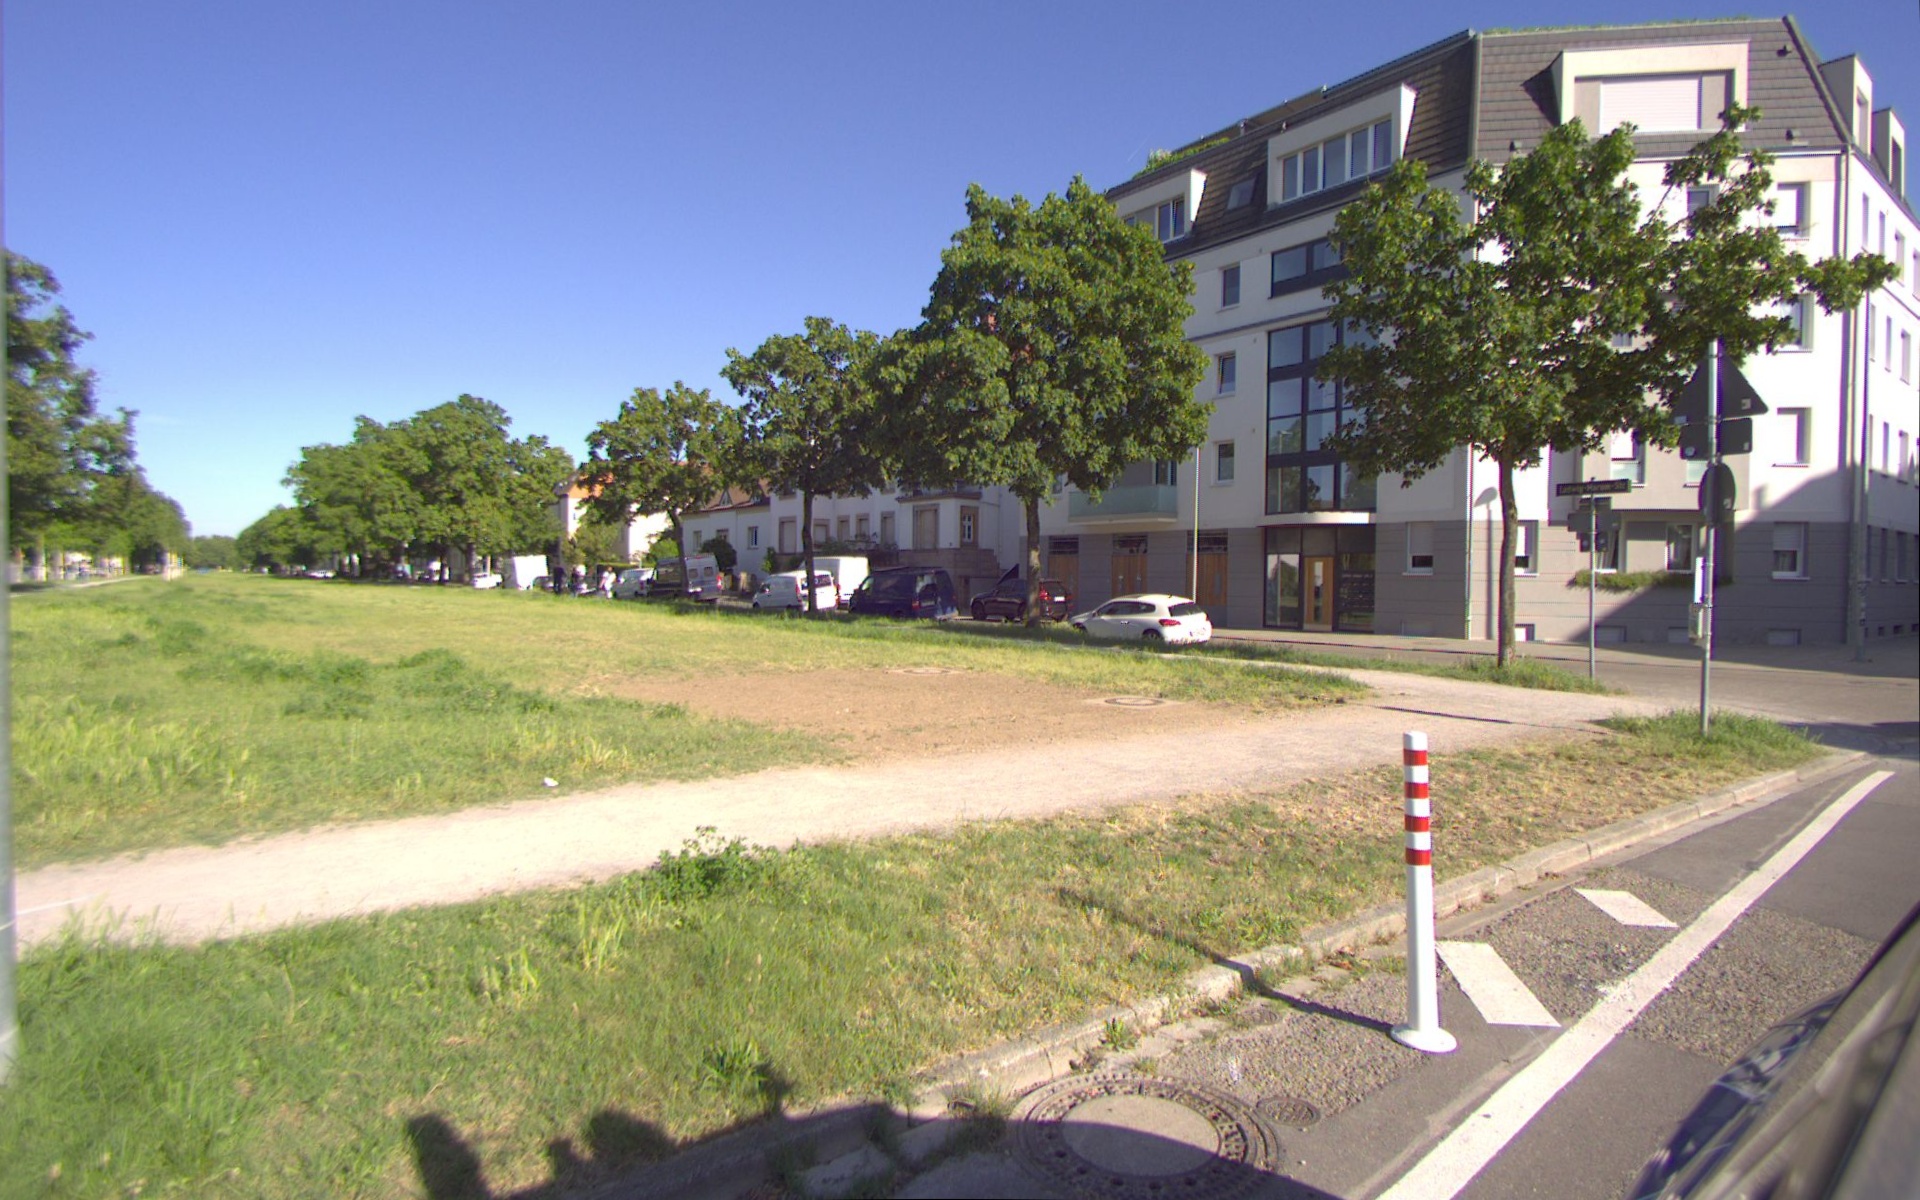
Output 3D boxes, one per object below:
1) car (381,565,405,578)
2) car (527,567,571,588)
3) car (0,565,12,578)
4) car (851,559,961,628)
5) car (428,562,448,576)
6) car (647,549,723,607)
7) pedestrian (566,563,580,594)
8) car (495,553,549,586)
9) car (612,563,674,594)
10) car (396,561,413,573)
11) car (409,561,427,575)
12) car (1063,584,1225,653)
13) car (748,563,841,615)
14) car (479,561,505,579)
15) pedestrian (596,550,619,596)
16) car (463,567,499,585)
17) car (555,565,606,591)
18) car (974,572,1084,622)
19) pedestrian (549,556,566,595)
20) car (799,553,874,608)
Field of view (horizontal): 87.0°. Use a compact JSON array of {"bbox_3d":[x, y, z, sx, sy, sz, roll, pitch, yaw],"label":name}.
[{"bbox_3d":[-69.819,-3.513,124.549,2.042,1.484,4.727,0,2,-36],"label":"car"},{"bbox_3d":[-28.928,-1.582,71.188,1.898,1.361,4.109,0,2,-36],"label":"car"},{"bbox_3d":[-100.798,-3.009,106.073,1.690,1.358,3.808,0,2,-37],"label":"car"},{"bbox_3d":[-1.894,-0.291,34.401,1.752,2.108,3.994,-5,5,-36],"label":"car"},{"bbox_3d":[-70.343,-4.225,136.347,1.831,1.868,3.994,0,2,-36],"label":"car"},{"bbox_3d":[-13.737,-1.147,50.371,2.153,2.615,4.288,-5,5,-36],"label":"car"},{"bbox_3d":[-18.996,-1.068,49.698,0.487,1.524,0.535,0,1,-37],"label":"pedestrian"},{"bbox_3d":[-33.003,-2.279,76.112,2.503,2.363,5.919,0,2,-36],"label":"car"},{"bbox_3d":[-17.573,-1.214,56.001,2.047,1.618,4.288,0,2,-36],"label":"car"},{"bbox_3d":[-87.266,-5.175,158.925,1.831,1.868,3.994,0,2,-36],"label":"car"},{"bbox_3d":[-78.591,-4.653,146.734,1.831,1.868,3.994,0,2,-36],"label":"car"},{"bbox_3d":[4.647,0.407,26.050,1.709,1.450,3.993,-5,5,-37],"label":"car"},{"bbox_3d":[-6.762,-0.502,41.064,1.842,1.906,4.423,-5,5,-36],"label":"car"},{"bbox_3d":[-50.124,-3.198,108.358,1.831,1.868,3.994,0,2,-36],"label":"car"},{"bbox_3d":[-14.525,-1.105,41.683,0.711,1.900,0.629,0,1,-38],"label":"pedestrian"},{"bbox_3d":[-41.968,-2.144,88.647,2.042,1.484,4.727,0,2,-36],"label":"car"},{"bbox_3d":[-24.392,-1.444,64.949,2.047,1.618,4.288,0,2,-36],"label":"car"},{"bbox_3d":[2.547,-0.176,38.360,1.861,1.703,4.288,-2,3,-36],"label":"car"},{"bbox_3d":[-19.755,-1.225,49.657,0.632,1.900,0.629,0,1,-38],"label":"pedestrian"},{"bbox_3d":[-6.118,-1.013,49.954,1.986,2.580,3.994,-2,3,-36],"label":"car"}]
